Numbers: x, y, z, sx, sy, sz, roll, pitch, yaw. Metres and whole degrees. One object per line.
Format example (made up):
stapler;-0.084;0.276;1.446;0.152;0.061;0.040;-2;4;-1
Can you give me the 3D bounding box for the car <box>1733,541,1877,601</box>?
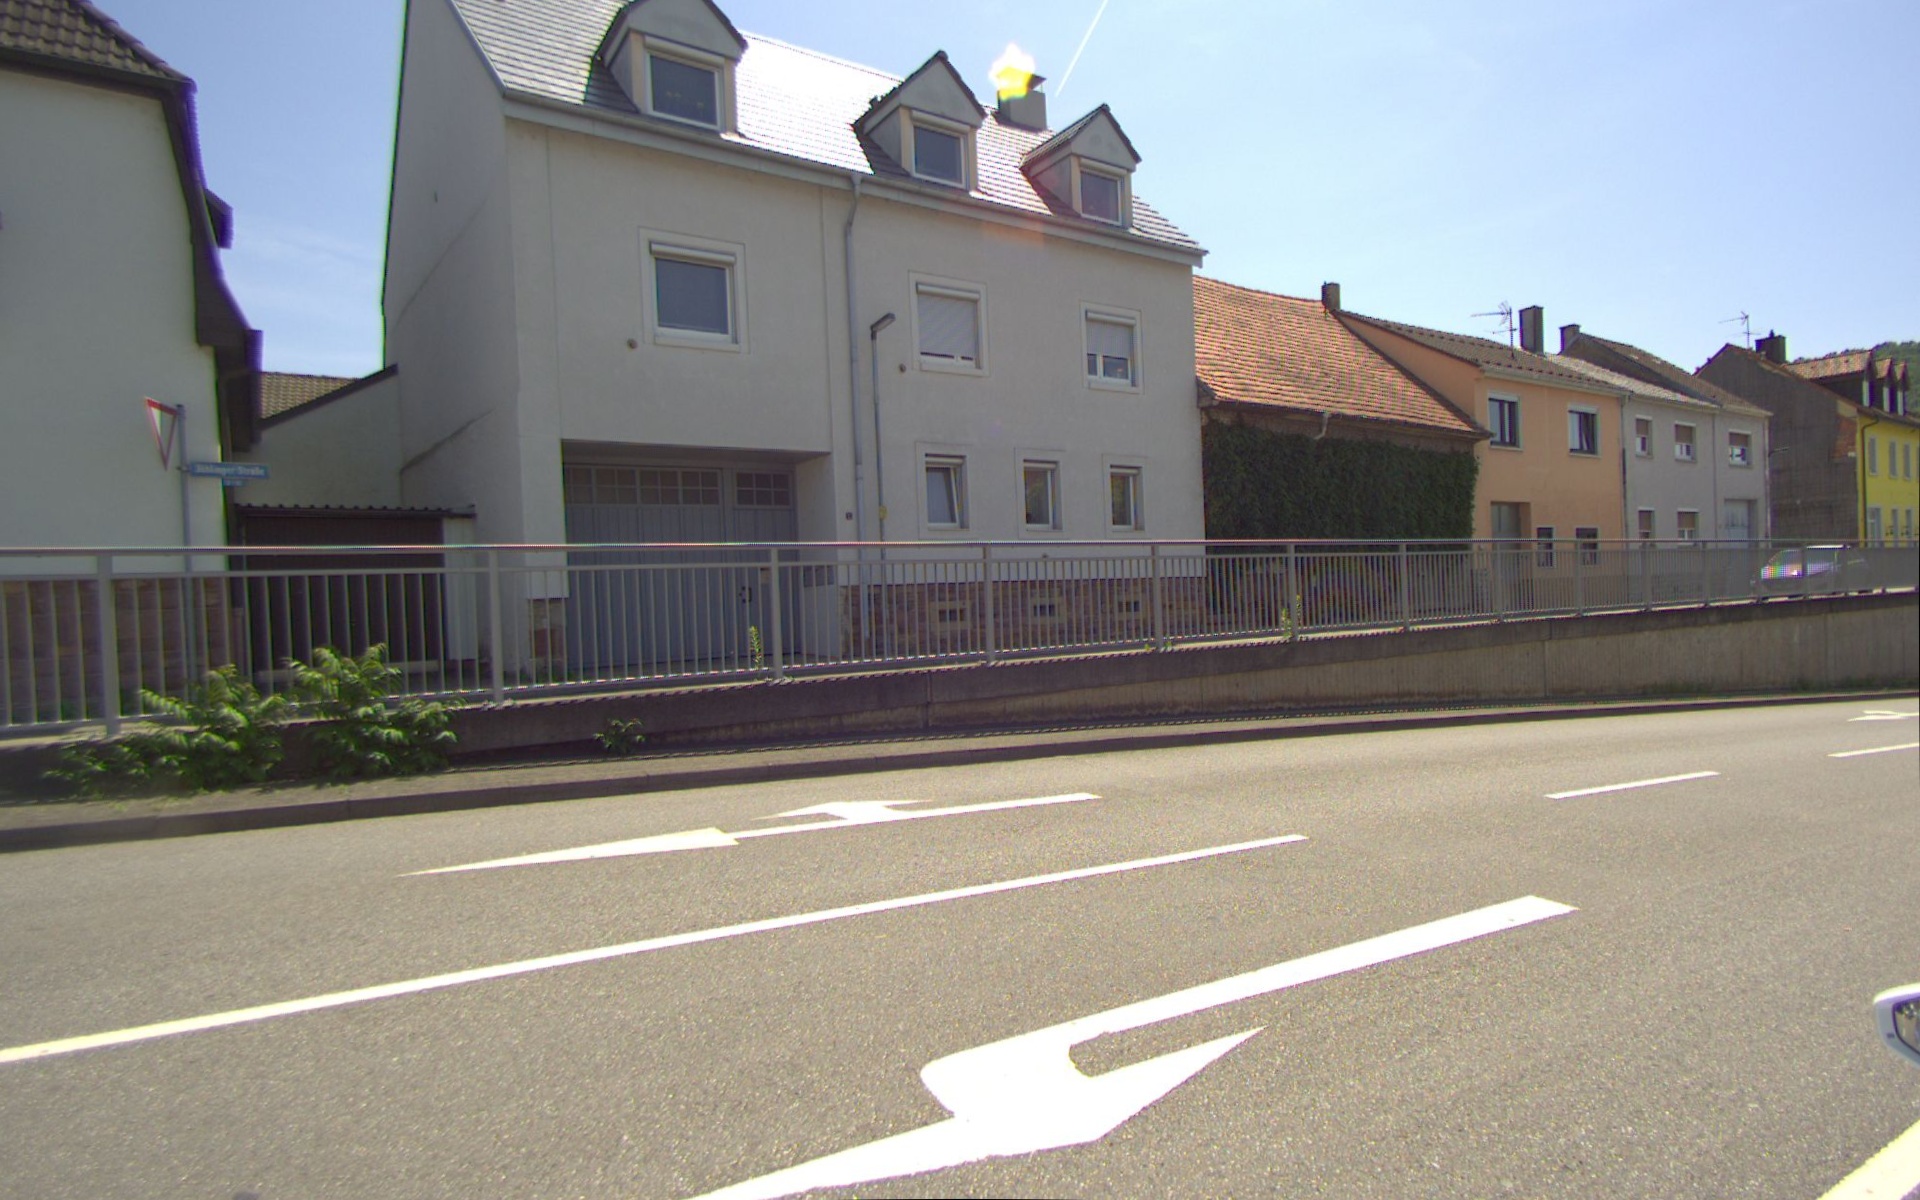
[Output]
car;22.870;-0.794;27.162;4.261;1.482;1.803;-2;2;-32
